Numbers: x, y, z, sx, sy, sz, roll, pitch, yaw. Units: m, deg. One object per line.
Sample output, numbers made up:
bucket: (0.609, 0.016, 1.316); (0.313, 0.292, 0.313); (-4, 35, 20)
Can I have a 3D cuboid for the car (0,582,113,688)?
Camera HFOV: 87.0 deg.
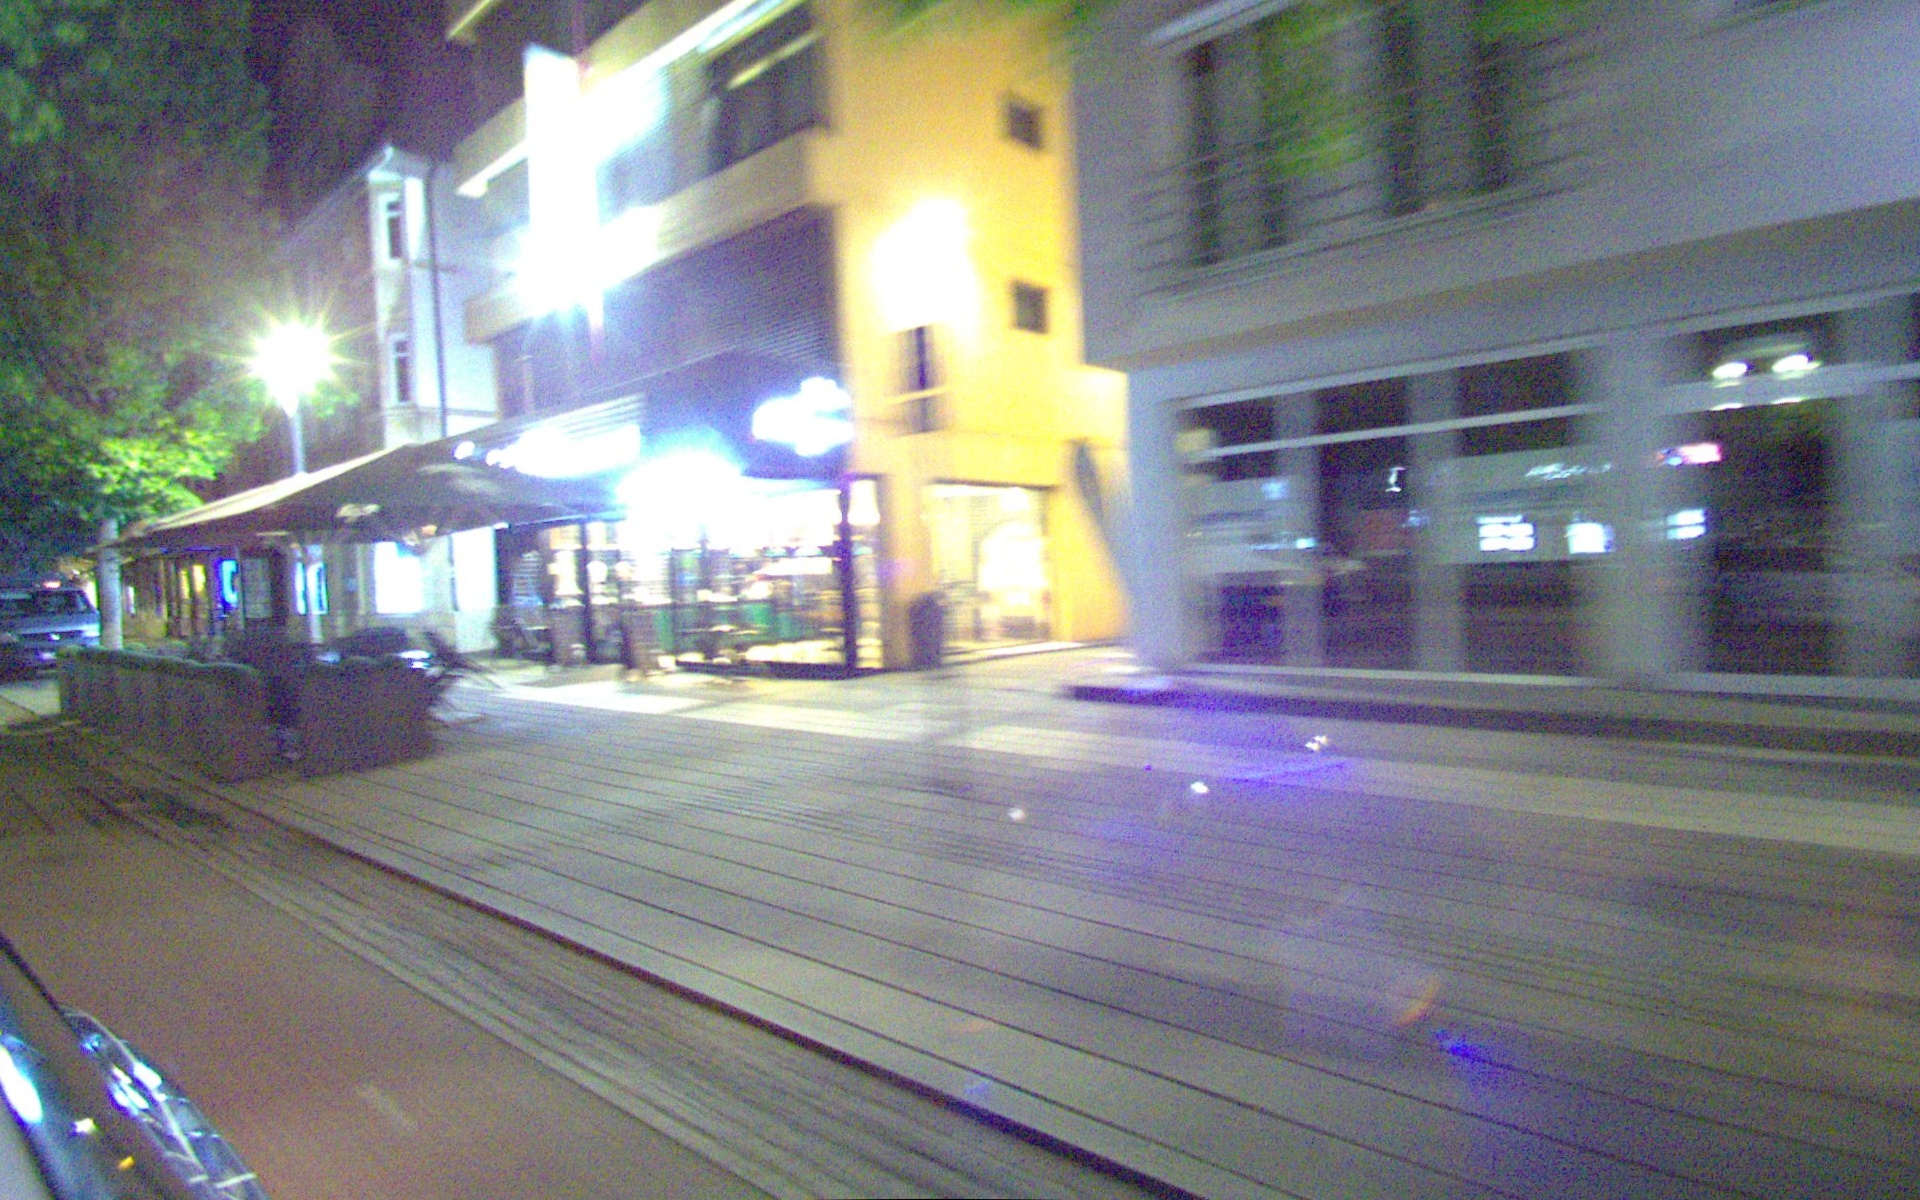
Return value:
car: (-20.094, 0.713, 21.865); (5.074, 1.979, 1.905); (-1, 3, 41)
